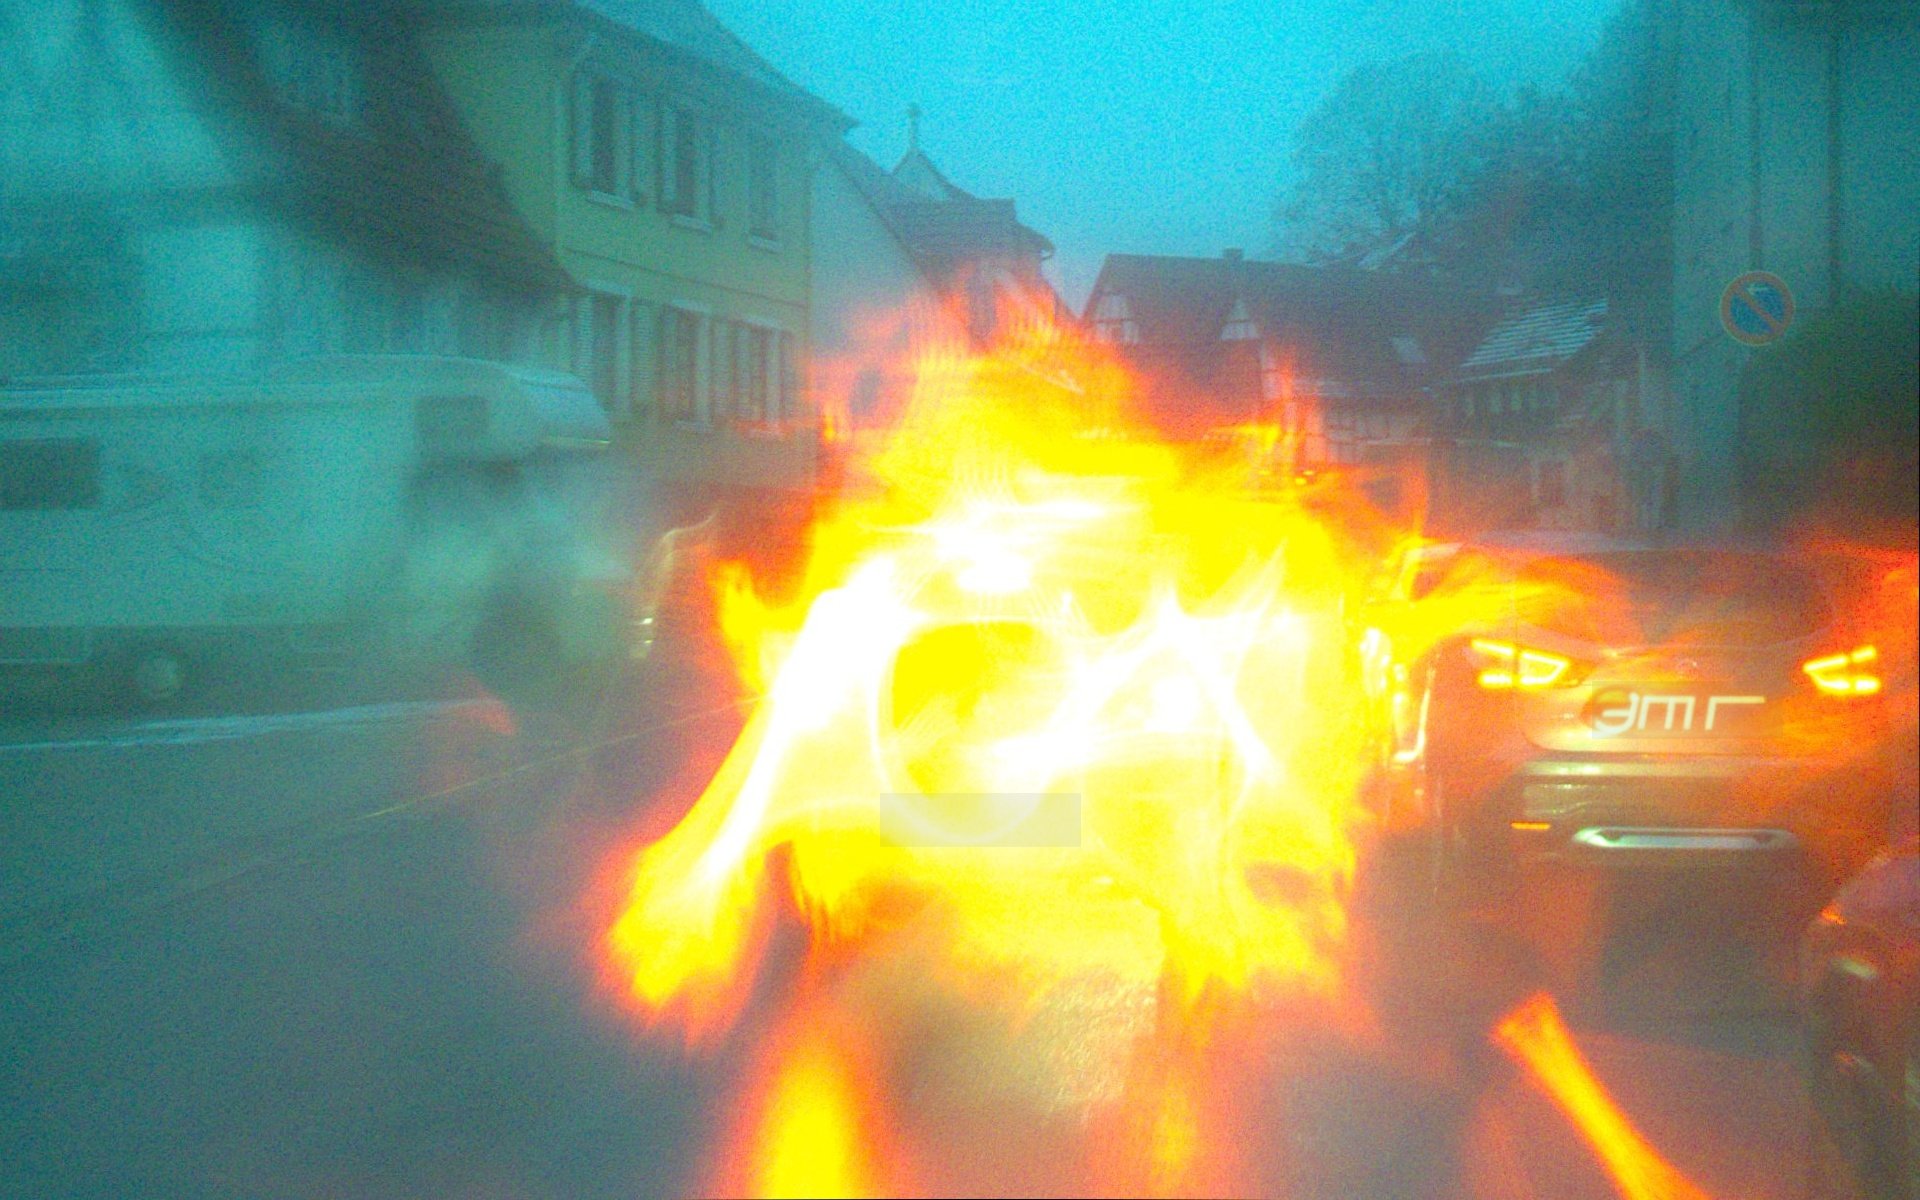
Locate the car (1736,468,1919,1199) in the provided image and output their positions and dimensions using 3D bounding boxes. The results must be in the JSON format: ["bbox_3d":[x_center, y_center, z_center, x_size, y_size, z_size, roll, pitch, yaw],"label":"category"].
[{"bbox_3d":[2.249,0.667,3.960,1.847,1.631,4.336,1,1,2],"label":"car"}]

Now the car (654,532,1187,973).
[{"bbox_3d":[-0.012,0.486,13.949,1.795,1.471,4.000,2,1,4],"label":"car"}]

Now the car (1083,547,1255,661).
[{"bbox_3d":[2.814,0.014,45.520,1.869,1.397,4.365,0,1,9],"label":"car"}]

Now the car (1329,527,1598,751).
[{"bbox_3d":[3.629,0.226,25.300,1.725,1.502,3.751,0,1,5],"label":"car"}]

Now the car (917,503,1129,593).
[{"bbox_3d":[1.109,-0.904,59.196,3.508,1.502,1.692,1,1,6],"label":"car"}]

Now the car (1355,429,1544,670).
[{"bbox_3d":[5.102,-0.552,36.219,1.814,2.405,3.751,0,1,6],"label":"car"}]

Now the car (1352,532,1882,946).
[{"bbox_3d":[2.701,0.483,14.976,1.798,1.529,4.000,0,1,4],"label":"car"}]

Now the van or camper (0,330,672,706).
[{"bbox_3d":[-5.857,-0.684,30.383,6.063,2.945,2.405,-2,1,10],"label":"van or camper"}]

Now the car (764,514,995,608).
[{"bbox_3d":[-1.316,-0.658,56.882,3.509,1.502,1.691,1,1,12],"label":"car"}]

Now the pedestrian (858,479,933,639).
[{"bbox_3d":[-0.819,-0.529,43.758,0.873,2.007,0.794,0,1,4],"label":"pedestrian"}]
